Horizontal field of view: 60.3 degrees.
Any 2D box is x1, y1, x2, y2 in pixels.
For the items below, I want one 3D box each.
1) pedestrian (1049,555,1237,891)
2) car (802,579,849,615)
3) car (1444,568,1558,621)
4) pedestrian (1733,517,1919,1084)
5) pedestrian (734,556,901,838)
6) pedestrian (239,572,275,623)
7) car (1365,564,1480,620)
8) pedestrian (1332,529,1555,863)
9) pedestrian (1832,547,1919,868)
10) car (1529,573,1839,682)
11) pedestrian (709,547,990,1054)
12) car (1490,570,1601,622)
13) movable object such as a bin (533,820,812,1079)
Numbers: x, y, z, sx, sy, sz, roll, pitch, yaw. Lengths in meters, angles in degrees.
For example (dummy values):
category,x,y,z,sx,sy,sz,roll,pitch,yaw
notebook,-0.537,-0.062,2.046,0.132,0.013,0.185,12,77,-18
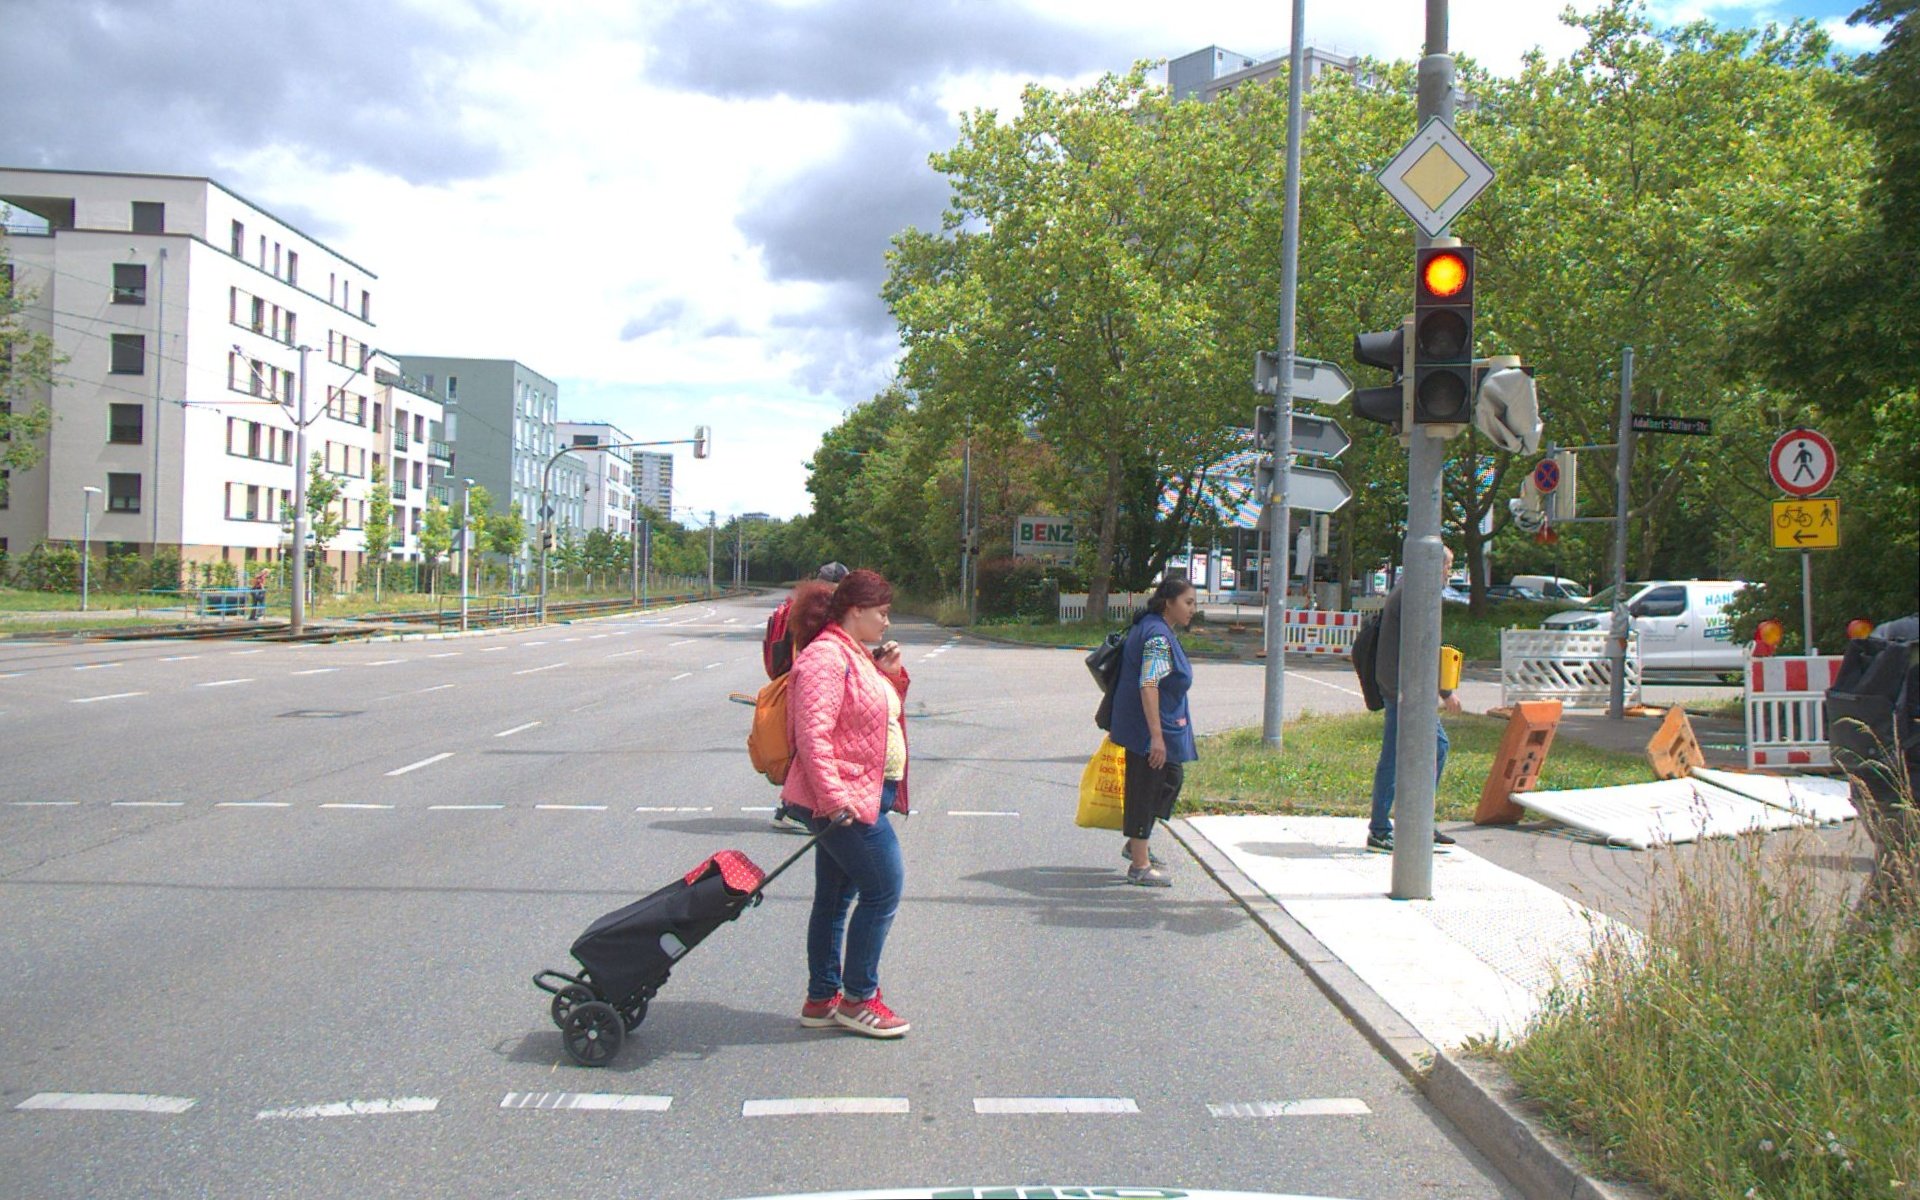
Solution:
category,x,y,z,sx,sy,sz,roll,pitch,yaw
pedestrian,0.976,0.598,8.627,0.893,1.635,0.930,1,0,10
car,-5.892,-0.139,72.127,1.944,1.512,4.485,1,1,-6
car,21.369,-0.236,65.458,1.974,2.049,3.957,0,1,-32
pedestrian,3.179,0.595,5.339,0.939,1.677,0.880,1,0,-1
pedestrian,-0.843,0.557,10.053,0.874,1.624,0.908,1,0,3
pedestrian,-21.447,-0.084,50.487,0.814,1.542,0.636,1,0,-1
car,17.525,-0.315,62.824,1.974,2.049,3.957,0,1,-32
pedestrian,2.734,0.517,9.463,0.982,1.804,0.929,1,0,-1
pedestrian,5.649,0.596,9.548,0.766,1.773,0.828,1,0,-1
car,13.433,0.499,30.857,4.976,1.906,1.947,1,0,-5
pedestrian,-0.347,0.627,5.557,0.863,1.582,0.746,1,0,-1
car,23.936,-0.183,67.695,1.974,2.049,3.957,0,1,-32
movable object such as a bin,-0.912,1.119,5.442,0.779,0.673,0.778,1,0,-1
